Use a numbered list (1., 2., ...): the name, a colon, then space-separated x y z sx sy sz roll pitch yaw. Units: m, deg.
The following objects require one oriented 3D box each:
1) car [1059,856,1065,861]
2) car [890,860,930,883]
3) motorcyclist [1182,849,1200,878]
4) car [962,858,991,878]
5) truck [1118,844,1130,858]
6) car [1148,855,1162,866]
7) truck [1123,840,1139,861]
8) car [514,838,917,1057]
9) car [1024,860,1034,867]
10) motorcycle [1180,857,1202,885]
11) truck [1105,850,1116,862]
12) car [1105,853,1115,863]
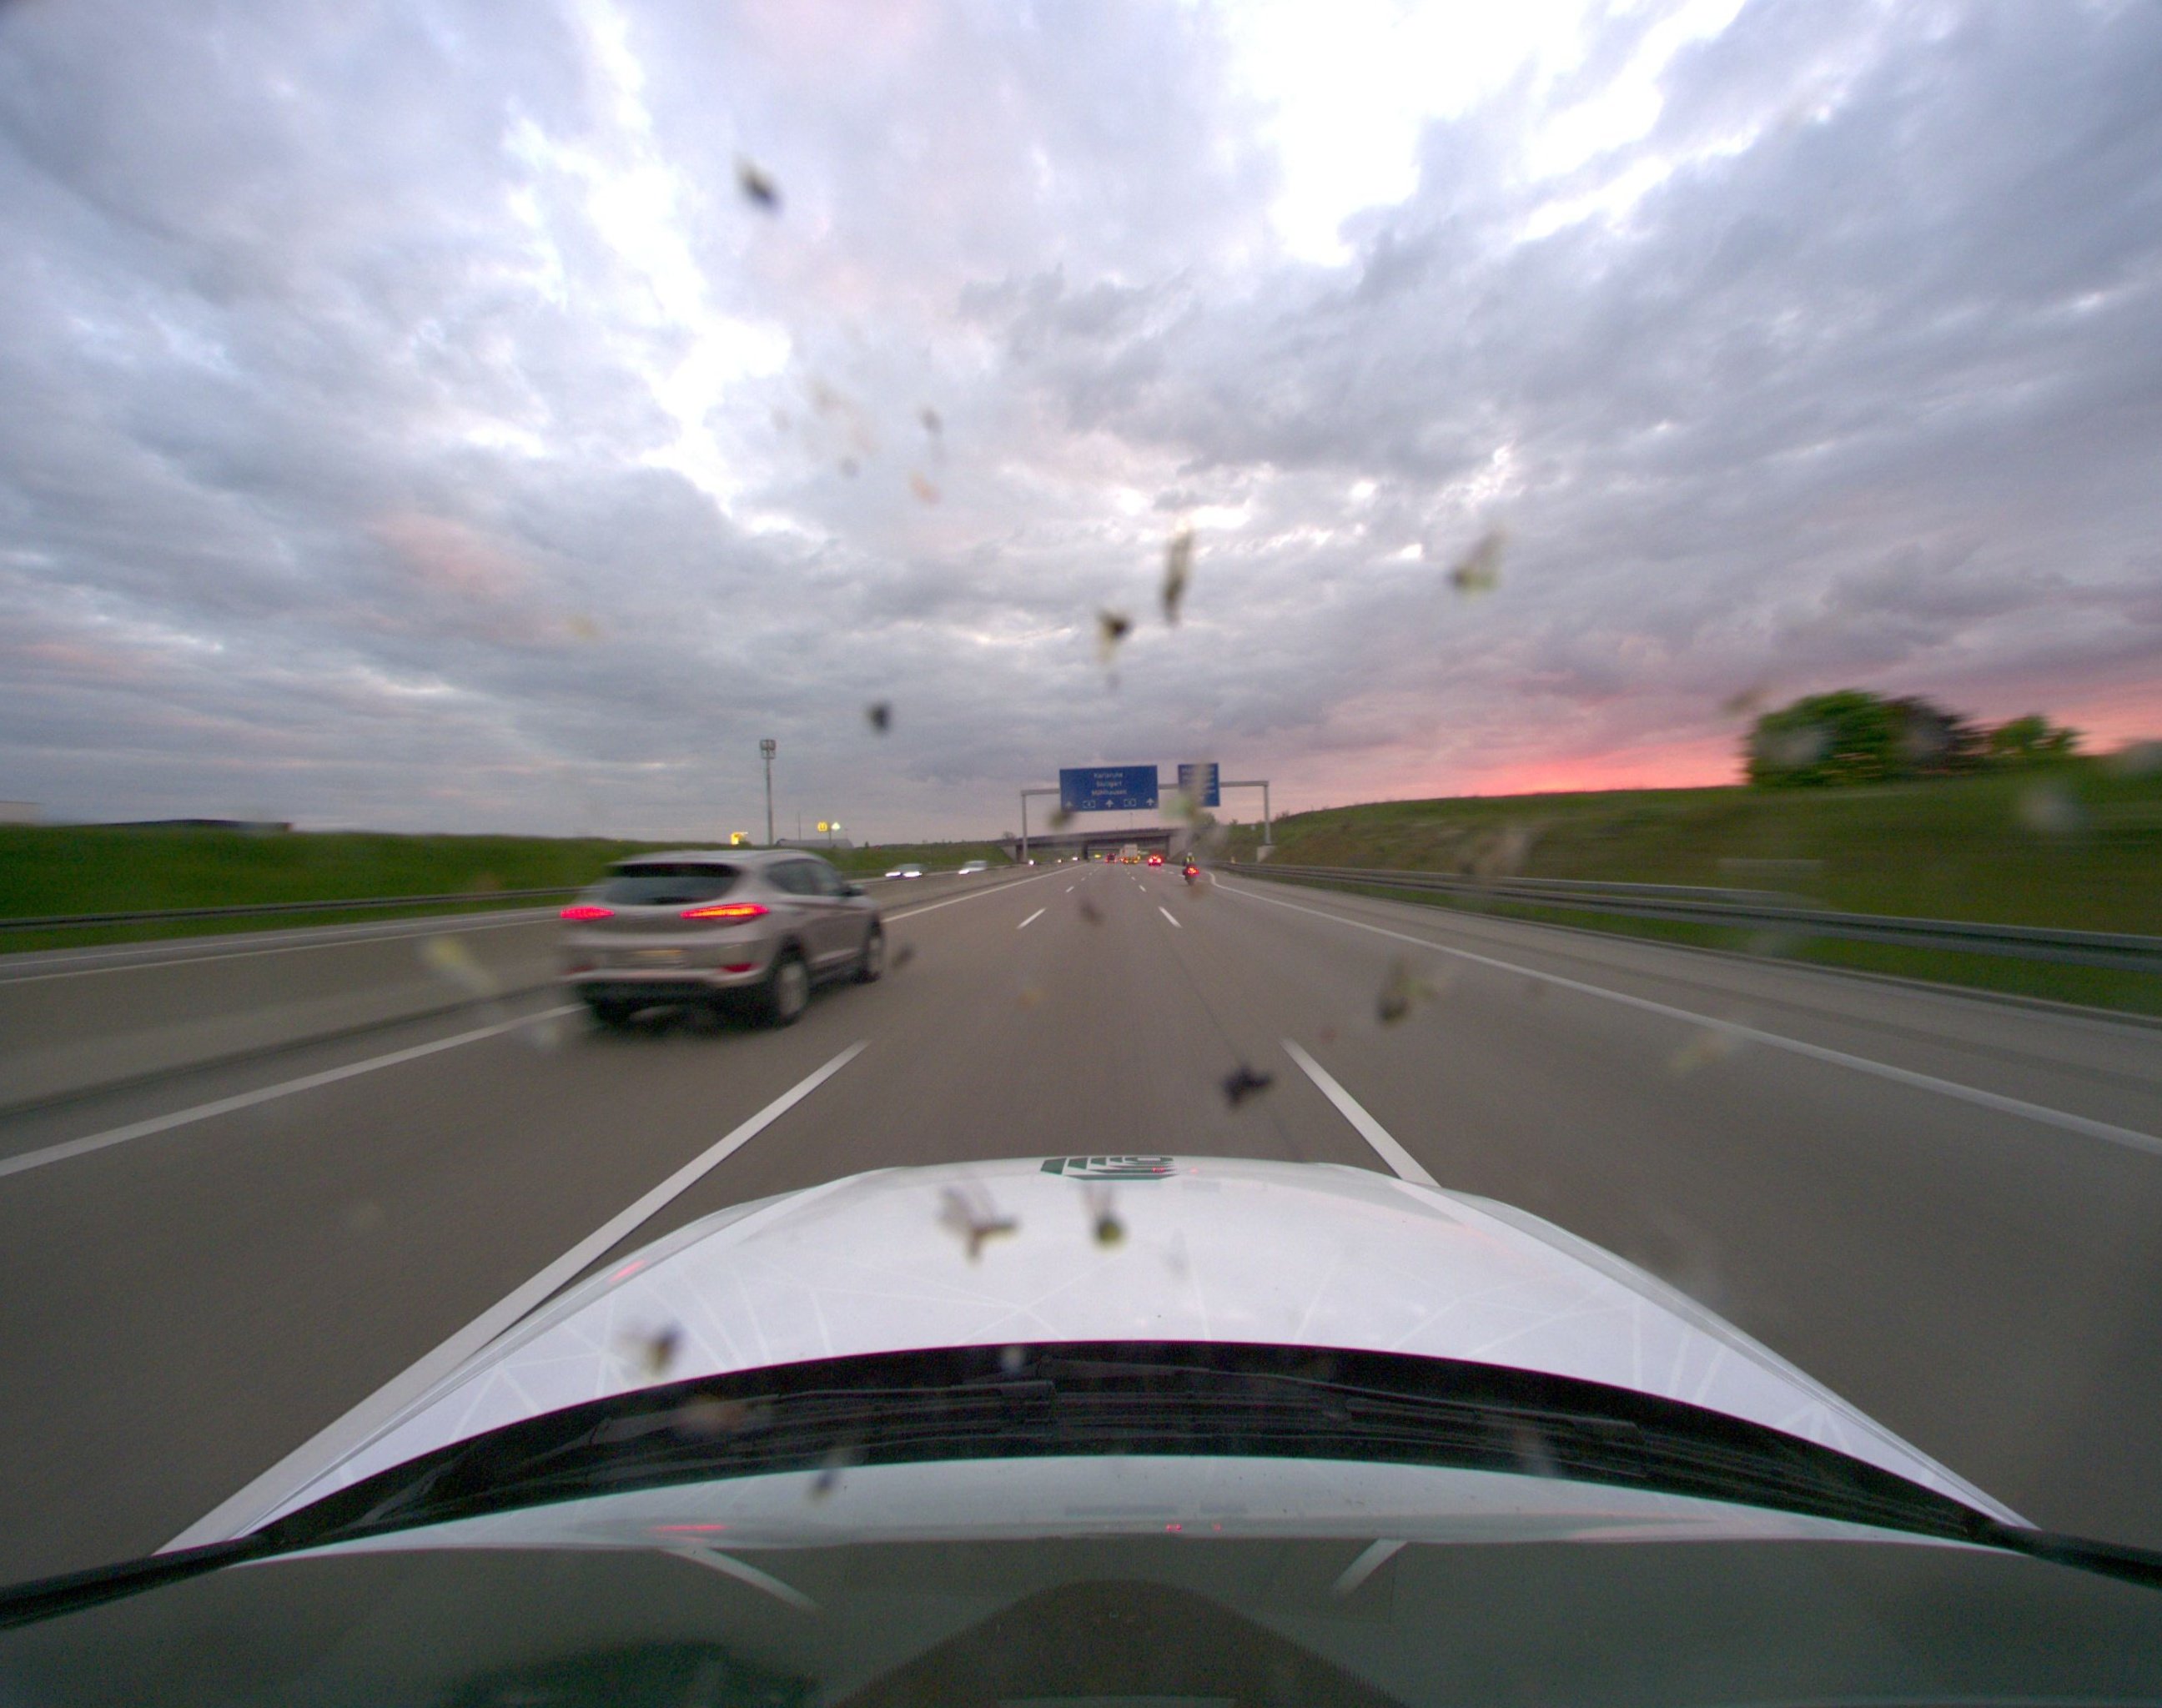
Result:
1. car: -5.944 1.325 253.807 1.812 1.628 4.003 0 -1 3
2. car: -12.988 1.319 61.997 1.996 1.587 4.573 -2 0 1
3. motorcyclist: 5.667 0.490 42.011 0.862 1.487 1.169 0 0 4
4. car: -8.896 1.197 69.683 1.742 1.597 4.646 0 0 2
5. truck: 13.458 -0.863 255.952 3.512 4.345 8.409 0 0 2
6. car: 11.450 0.972 125.979 1.911 1.579 4.001 -2 0 1
7. truck: 10.172 -0.696 166.982 3.221 4.227 9.605 0 0 3
8. car: -3.445 0.739 9.186 1.845 1.692 5.515 -1 0 2
9. car: -12.180 2.139 191.138 1.986 1.602 5.200 0 -1 1
10. motorcycle: 5.663 0.857 42.146 0.898 1.346 2.350 -1 1 3
11. truck: 8.318 0.501 231.094 2.941 3.217 8.409 0 0 2
12. car: 7.649 1.053 214.761 2.507 2.391 6.498 -2 0 1
